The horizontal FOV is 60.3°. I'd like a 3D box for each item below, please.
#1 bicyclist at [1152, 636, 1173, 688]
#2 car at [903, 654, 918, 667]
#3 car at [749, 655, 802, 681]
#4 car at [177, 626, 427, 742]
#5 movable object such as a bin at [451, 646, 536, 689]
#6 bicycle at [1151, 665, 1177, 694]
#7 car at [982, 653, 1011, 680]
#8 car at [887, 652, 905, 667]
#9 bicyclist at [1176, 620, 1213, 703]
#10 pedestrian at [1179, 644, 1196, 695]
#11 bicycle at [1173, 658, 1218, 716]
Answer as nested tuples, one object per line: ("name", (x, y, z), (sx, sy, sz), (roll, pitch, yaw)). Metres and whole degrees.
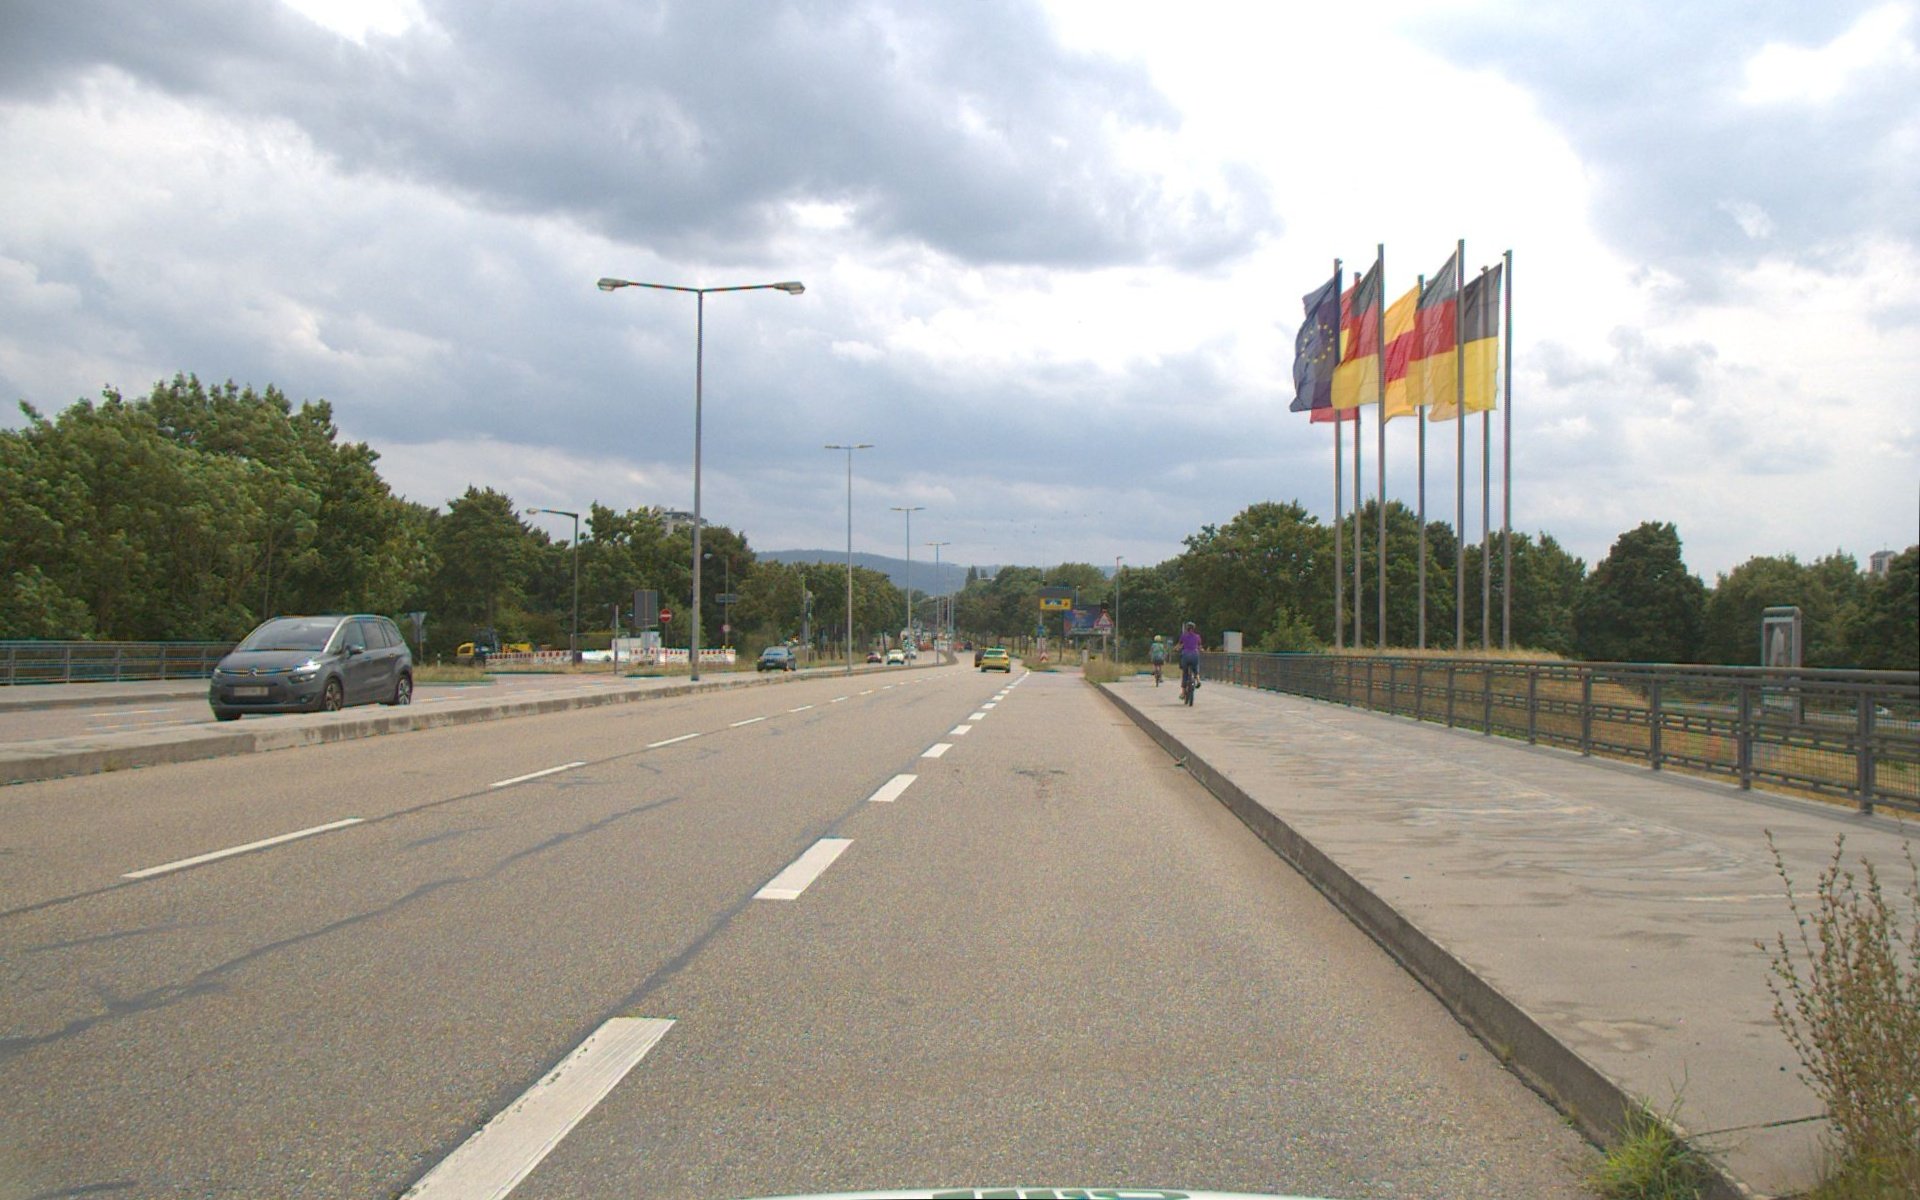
("bicyclist", (6.665, 2.037, 54.360), (0.609, 1.695, 0.669), (1, -1, 1))
("car", (-7.301, 8.861, 242.857), (1.863, 1.841, 4.540), (1, -1, 2))
("car", (-10.387, 3.829, 93.388), (1.951, 1.398, 4.579), (-1, -2, 6))
("car", (-10.354, 1.272, 26.464), (1.952, 1.669, 4.663), (1, -1, 2))
("movable object such as a bin", (-27.257, 3.915, 96.815), (4.492, 2.439, 1.996), (1, -1, -8))
("bicycle", (6.646, 2.582, 53.954), (0.610, 0.904, 2.154), (1, -1, 1))
("car", (2.252, 4.081, 102.427), (1.756, 1.589, 4.000), (1, -1, 0))
("car", (-7.093, 6.579, 183.312), (1.659, 1.658, 4.385), (1, -1, 3))
("bicyclist", (5.105, 1.332, 36.088), (0.688, 1.786, 0.991), (0, -2, 1))
("pedestrian", (9.302, 2.825, 67.539), (0.614, 2.049, 0.668), (0, -1, 3))
("bicycle", (5.151, 1.882, 36.253), (0.679, 1.213, 2.461), (0, -2, 1))
